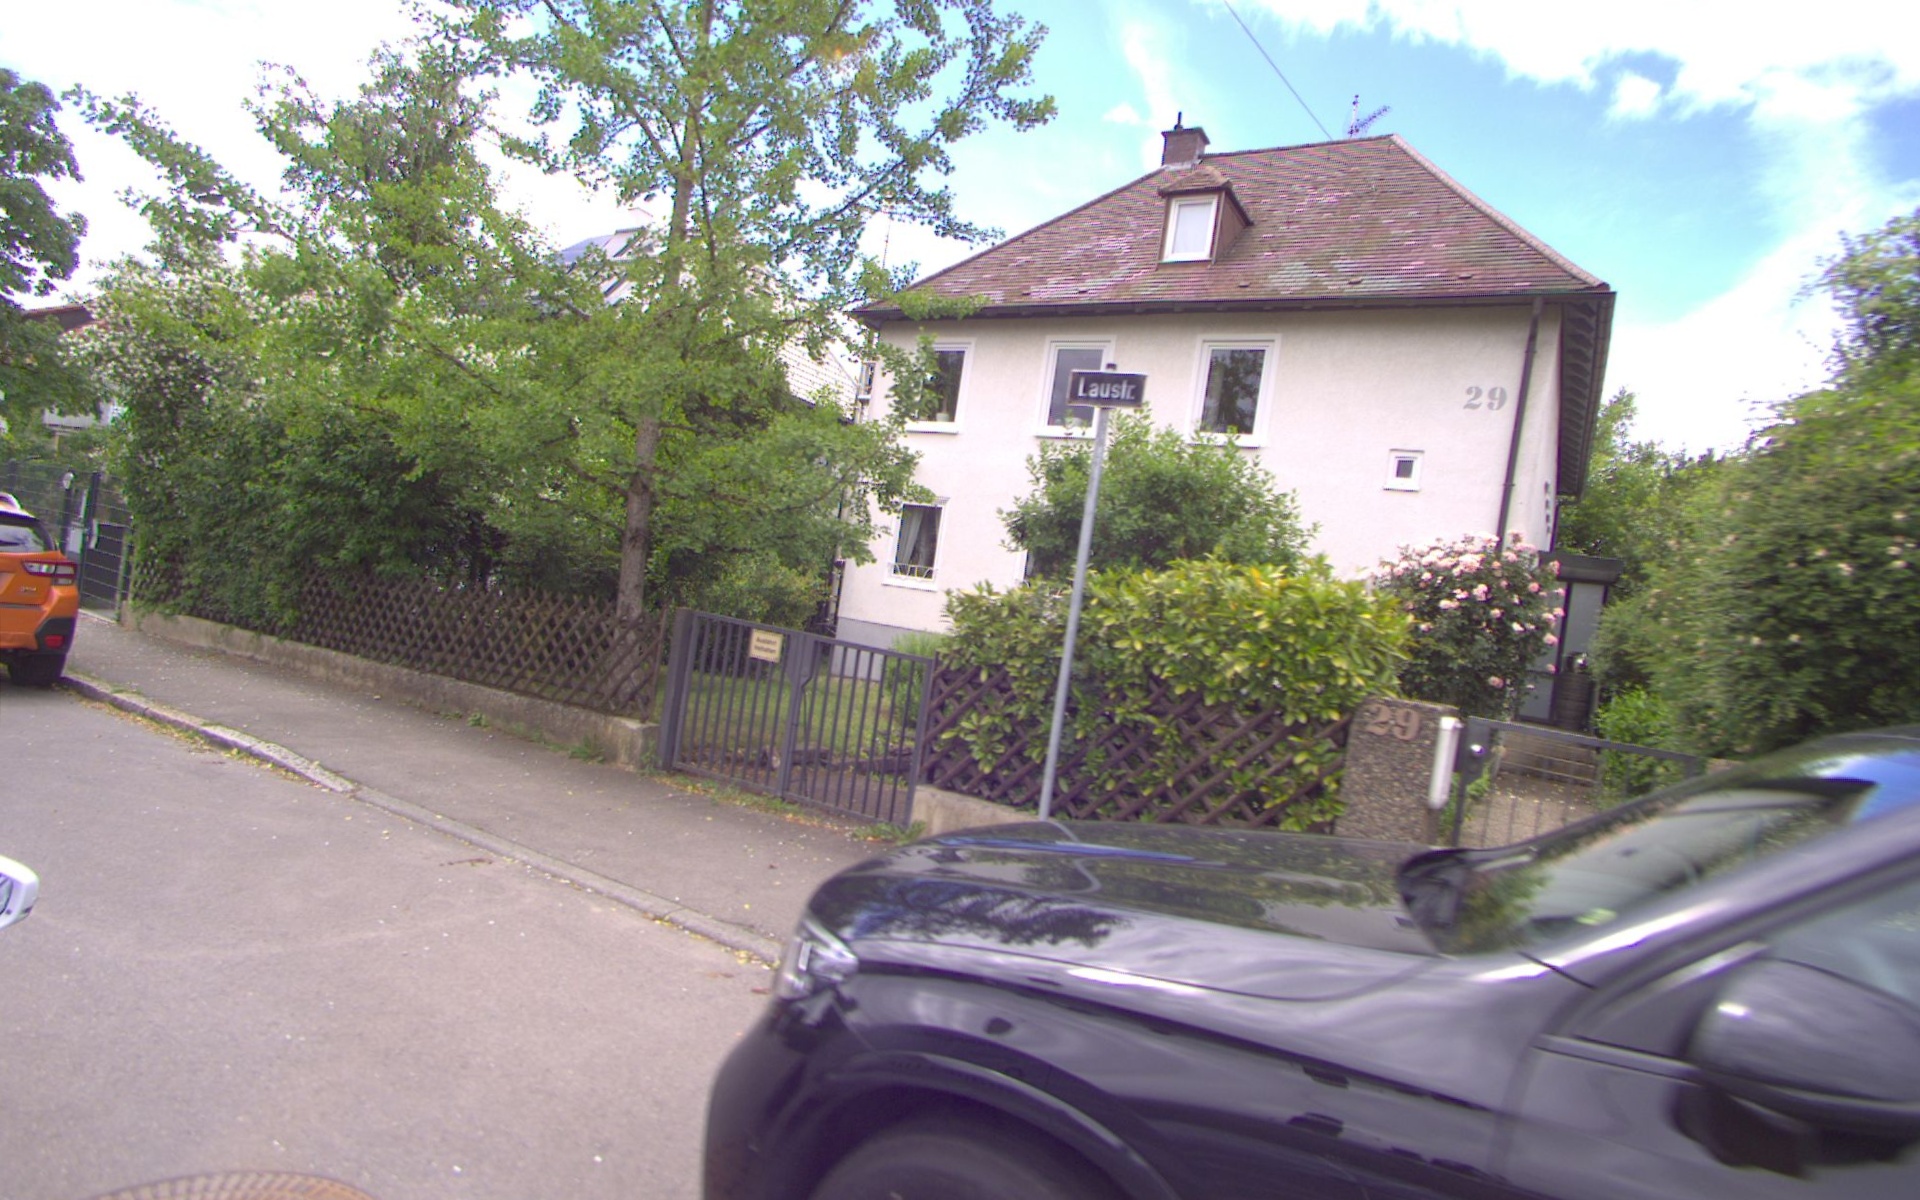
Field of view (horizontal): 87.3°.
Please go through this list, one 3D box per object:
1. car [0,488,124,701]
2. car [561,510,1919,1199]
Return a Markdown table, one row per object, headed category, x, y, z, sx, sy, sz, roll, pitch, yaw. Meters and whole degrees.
| category | x | y | z | sx | sy | sz | roll | pitch | yaw |
| --- | --- | --- | --- | --- | --- | --- | --- | --- | --- |
| car | -9.382 | -0.260 | 8.733 | 4.099 | 1.645 | 1.855 | 6 | -3 | 31 |
| car | 1.640 | 0.960 | 1.671 | 4.302 | 1.645 | 1.955 | 6 | -3 | 29 |
